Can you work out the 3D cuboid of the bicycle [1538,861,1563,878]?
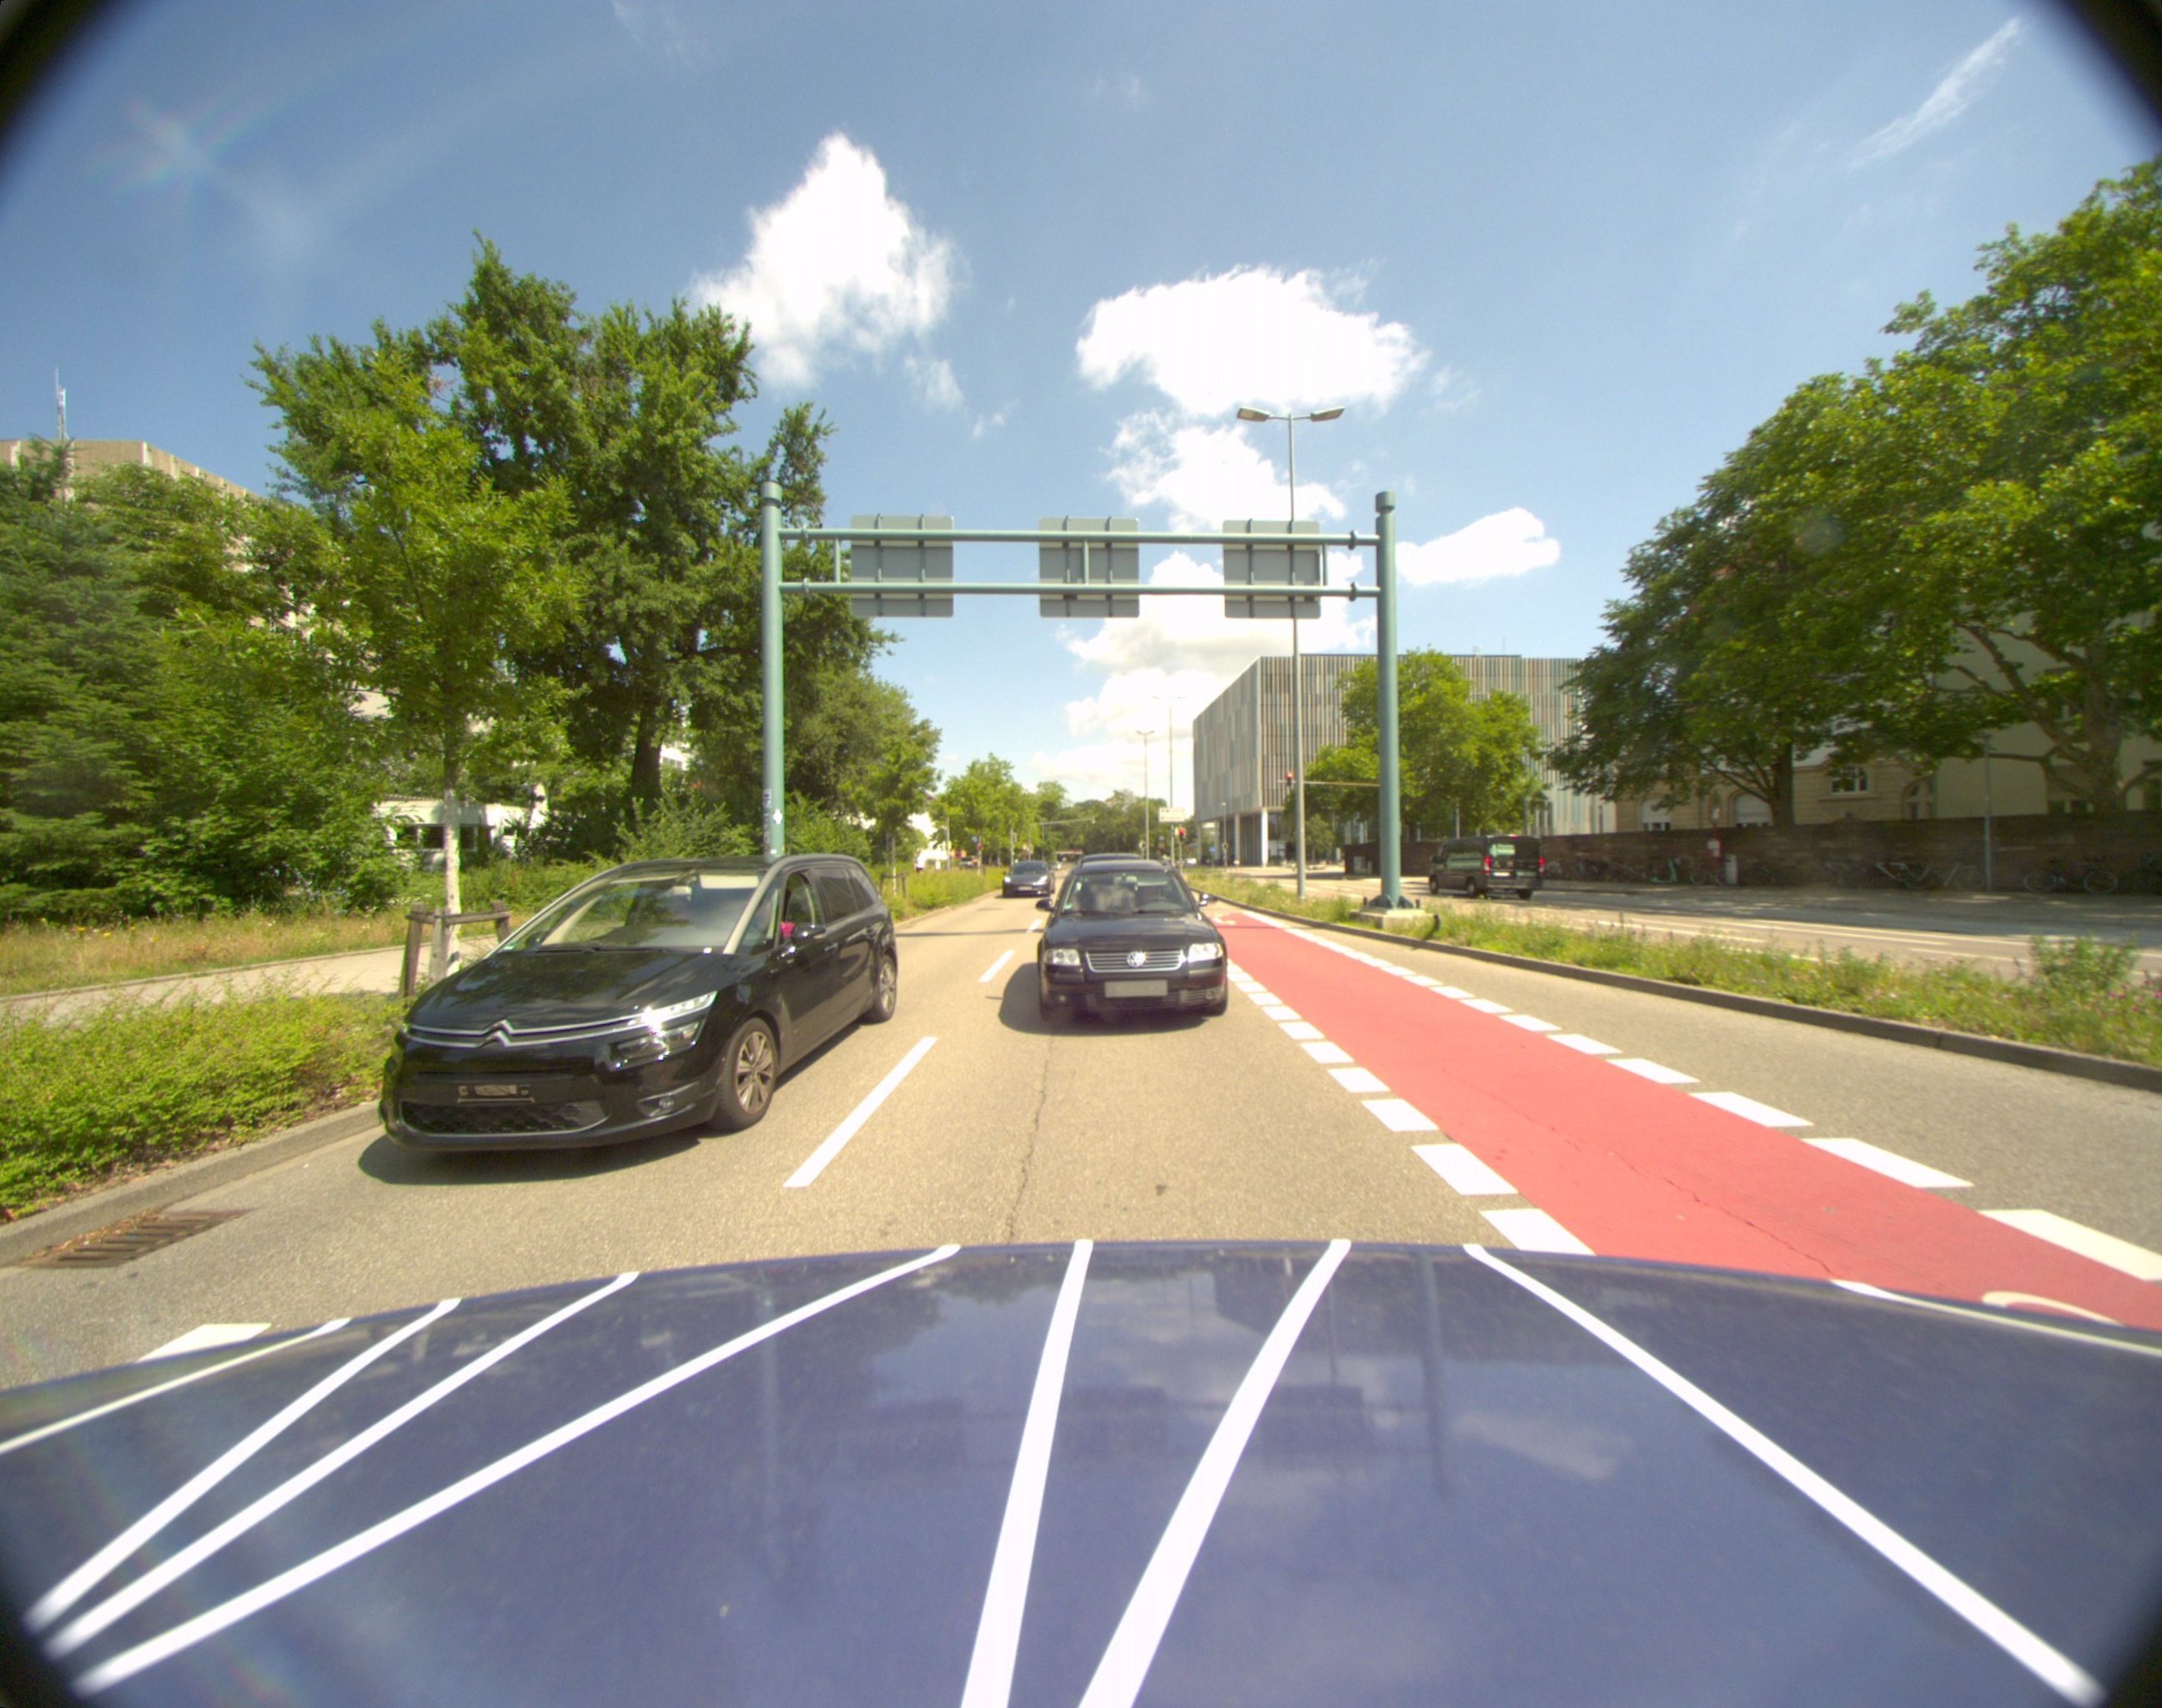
[{"bbox_3d":[23.183,0.758,37.534,0.265,0.826,1.234,-1,0,-11],"label":"bicycle"}]

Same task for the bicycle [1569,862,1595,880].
[{"bbox_3d":[23.863,0.787,36.189,0.265,0.826,1.235,-1,0,-11],"label":"bicycle"}]

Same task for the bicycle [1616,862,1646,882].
[{"bbox_3d":[24.146,0.778,33.378,0.265,0.826,1.235,-1,0,-11],"label":"bicycle"}]

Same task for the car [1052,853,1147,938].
[{"bbox_3d":[0.377,0.794,16.625,1.723,1.545,4.594,-3,0,1],"label":"car"}]

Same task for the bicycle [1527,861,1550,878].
[{"bbox_3d":[23.467,0.796,39.005,0.265,0.826,1.235,-1,0,-11],"label":"bicycle"}]

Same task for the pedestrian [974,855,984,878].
[{"bbox_3d":[-7.662,0.936,57.023,0.640,1.754,0.885,-1,0,-16],"label":"pedestrian"}]

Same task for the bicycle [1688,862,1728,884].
[{"bbox_3d":[24.817,0.747,30.088,0.265,0.826,1.233,-1,0,-21],"label":"bicycle"}]

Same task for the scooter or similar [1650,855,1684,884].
[{"bbox_3d":[23.909,0.629,31.028,0.265,1.182,1.234,-1,0,-11],"label":"scooter or similar"}]

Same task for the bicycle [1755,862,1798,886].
[{"bbox_3d":[25.187,0.713,27.528,0.265,0.826,1.235,-1,0,-11],"label":"bicycle"}]

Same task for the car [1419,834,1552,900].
[{"bbox_3d":[14.638,0.439,27.896,2.153,2.162,5.018,1,0,0],"label":"car"}]

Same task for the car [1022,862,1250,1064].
[{"bbox_3d":[0.460,0.877,8.234,1.723,1.472,4.594,-3,0,1],"label":"car"}]

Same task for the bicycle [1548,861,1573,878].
[{"bbox_3d":[23.661,0.757,37.476,0.265,0.826,1.235,-1,0,-11],"label":"bicycle"}]

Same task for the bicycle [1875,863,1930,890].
[{"bbox_3d":[25.974,0.706,24.046,0.265,0.826,1.235,-1,0,-11],"label":"bicycle"}]

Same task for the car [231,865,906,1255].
[{"bbox_3d":[-2.776,0.943,5.588,1.816,1.598,4.479,-3,0,1],"label":"car"}]

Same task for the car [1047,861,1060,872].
[{"bbox_3d":[-4.333,1.975,122.140,1.816,1.598,4.479,-3,0,1],"label":"car"}]

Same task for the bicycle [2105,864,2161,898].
[{"bbox_3d":[27.126,0.678,19.354,0.265,0.826,1.234,-1,0,-13],"label":"bicycle"}]

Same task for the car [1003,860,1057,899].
[{"bbox_3d":[-1.999,0.962,30.757,1.806,1.361,4.157,-1,1,1],"label":"car"}]

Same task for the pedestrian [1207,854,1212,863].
[{"bbox_3d":[19.415,0.692,114.964,0.696,1.445,0.689,-1,0,6],"label":"pedestrian"}]

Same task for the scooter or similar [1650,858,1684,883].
[{"bbox_3d":[24.573,0.683,31.858,0.266,1.014,1.140,-1,0,-22],"label":"scooter or similar"}]

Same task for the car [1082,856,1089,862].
[{"bbox_3d":[1.331,1.515,218.970,1.758,1.581,4.275,-1,0,-4],"label":"car"}]

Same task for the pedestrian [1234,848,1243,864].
[{"bbox_3d":[19.310,0.257,93.187,0.864,2.002,0.995,-1,0,-1],"label":"pedestrian"}]

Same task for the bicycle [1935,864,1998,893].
[{"bbox_3d":[26.241,0.727,22.537,0.265,0.826,1.235,-1,0,-11],"label":"bicycle"}]

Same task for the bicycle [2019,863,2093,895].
[{"bbox_3d":[26.639,0.674,20.781,0.265,0.826,1.234,-1,0,-13],"label":"bicycle"}]

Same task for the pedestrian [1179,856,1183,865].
[{"bbox_3d":[16.399,1.049,124.425,0.696,1.445,0.689,-1,0,5],"label":"pedestrian"}]

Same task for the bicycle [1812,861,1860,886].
[{"bbox_3d":[25.682,0.665,25.859,0.265,0.826,1.235,-1,0,-11],"label":"bicycle"}]

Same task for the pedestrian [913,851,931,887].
[{"bbox_3d":[-9.010,0.826,43.053,0.846,2.026,0.901,-1,0,-6],"label":"pedestrian"}]

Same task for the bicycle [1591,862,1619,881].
[{"bbox_3d":[24.066,0.790,34.897,0.265,0.826,1.235,-1,0,-11],"label":"bicycle"}]

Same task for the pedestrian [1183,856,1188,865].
[{"bbox_3d":[17.890,1.116,129.987,0.696,1.445,0.689,-1,0,5],"label":"pedestrian"}]
